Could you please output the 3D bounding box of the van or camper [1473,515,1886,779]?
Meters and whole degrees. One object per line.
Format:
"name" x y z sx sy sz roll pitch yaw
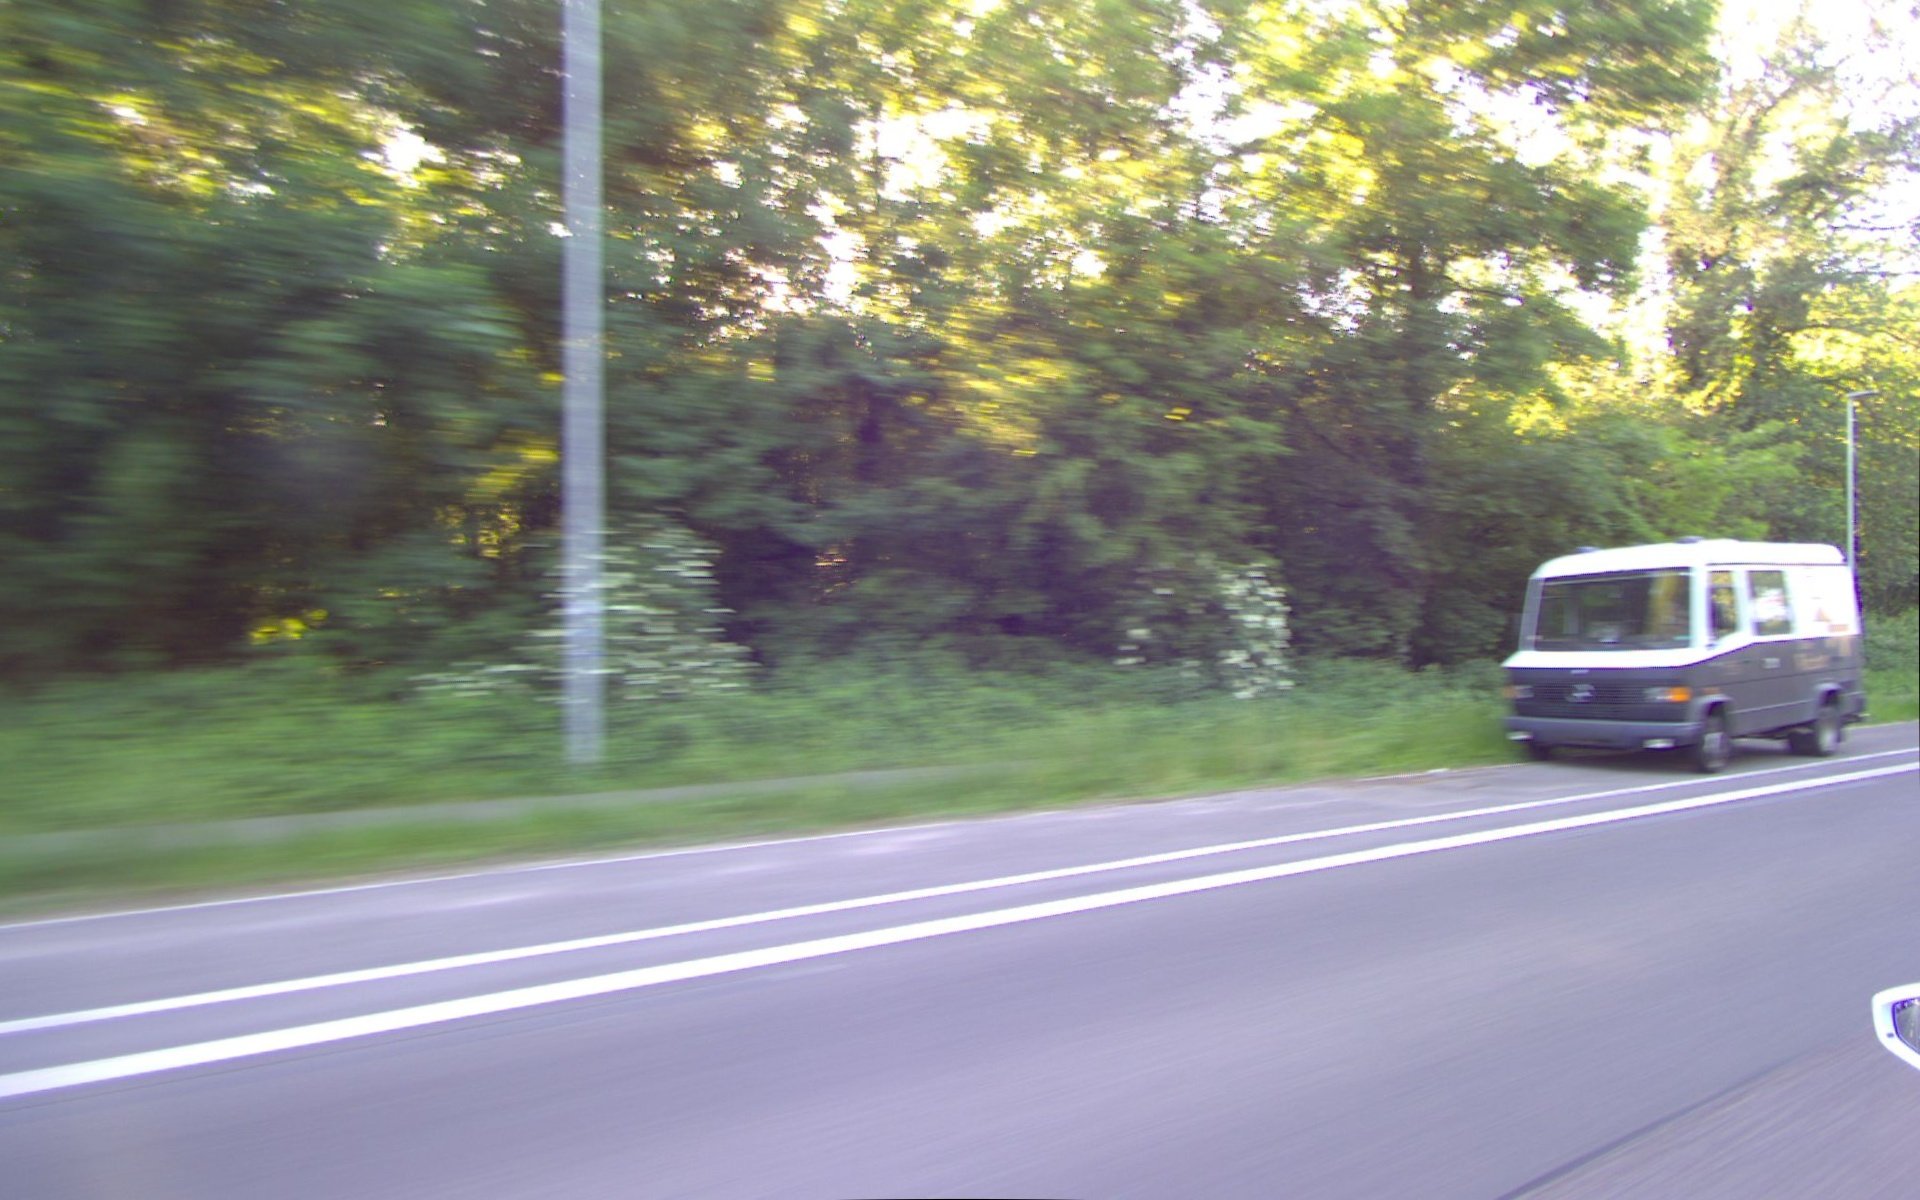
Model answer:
"van or camper" 9.447 0.604 13.088 5.492 2.804 2.291 1 -3 -31
